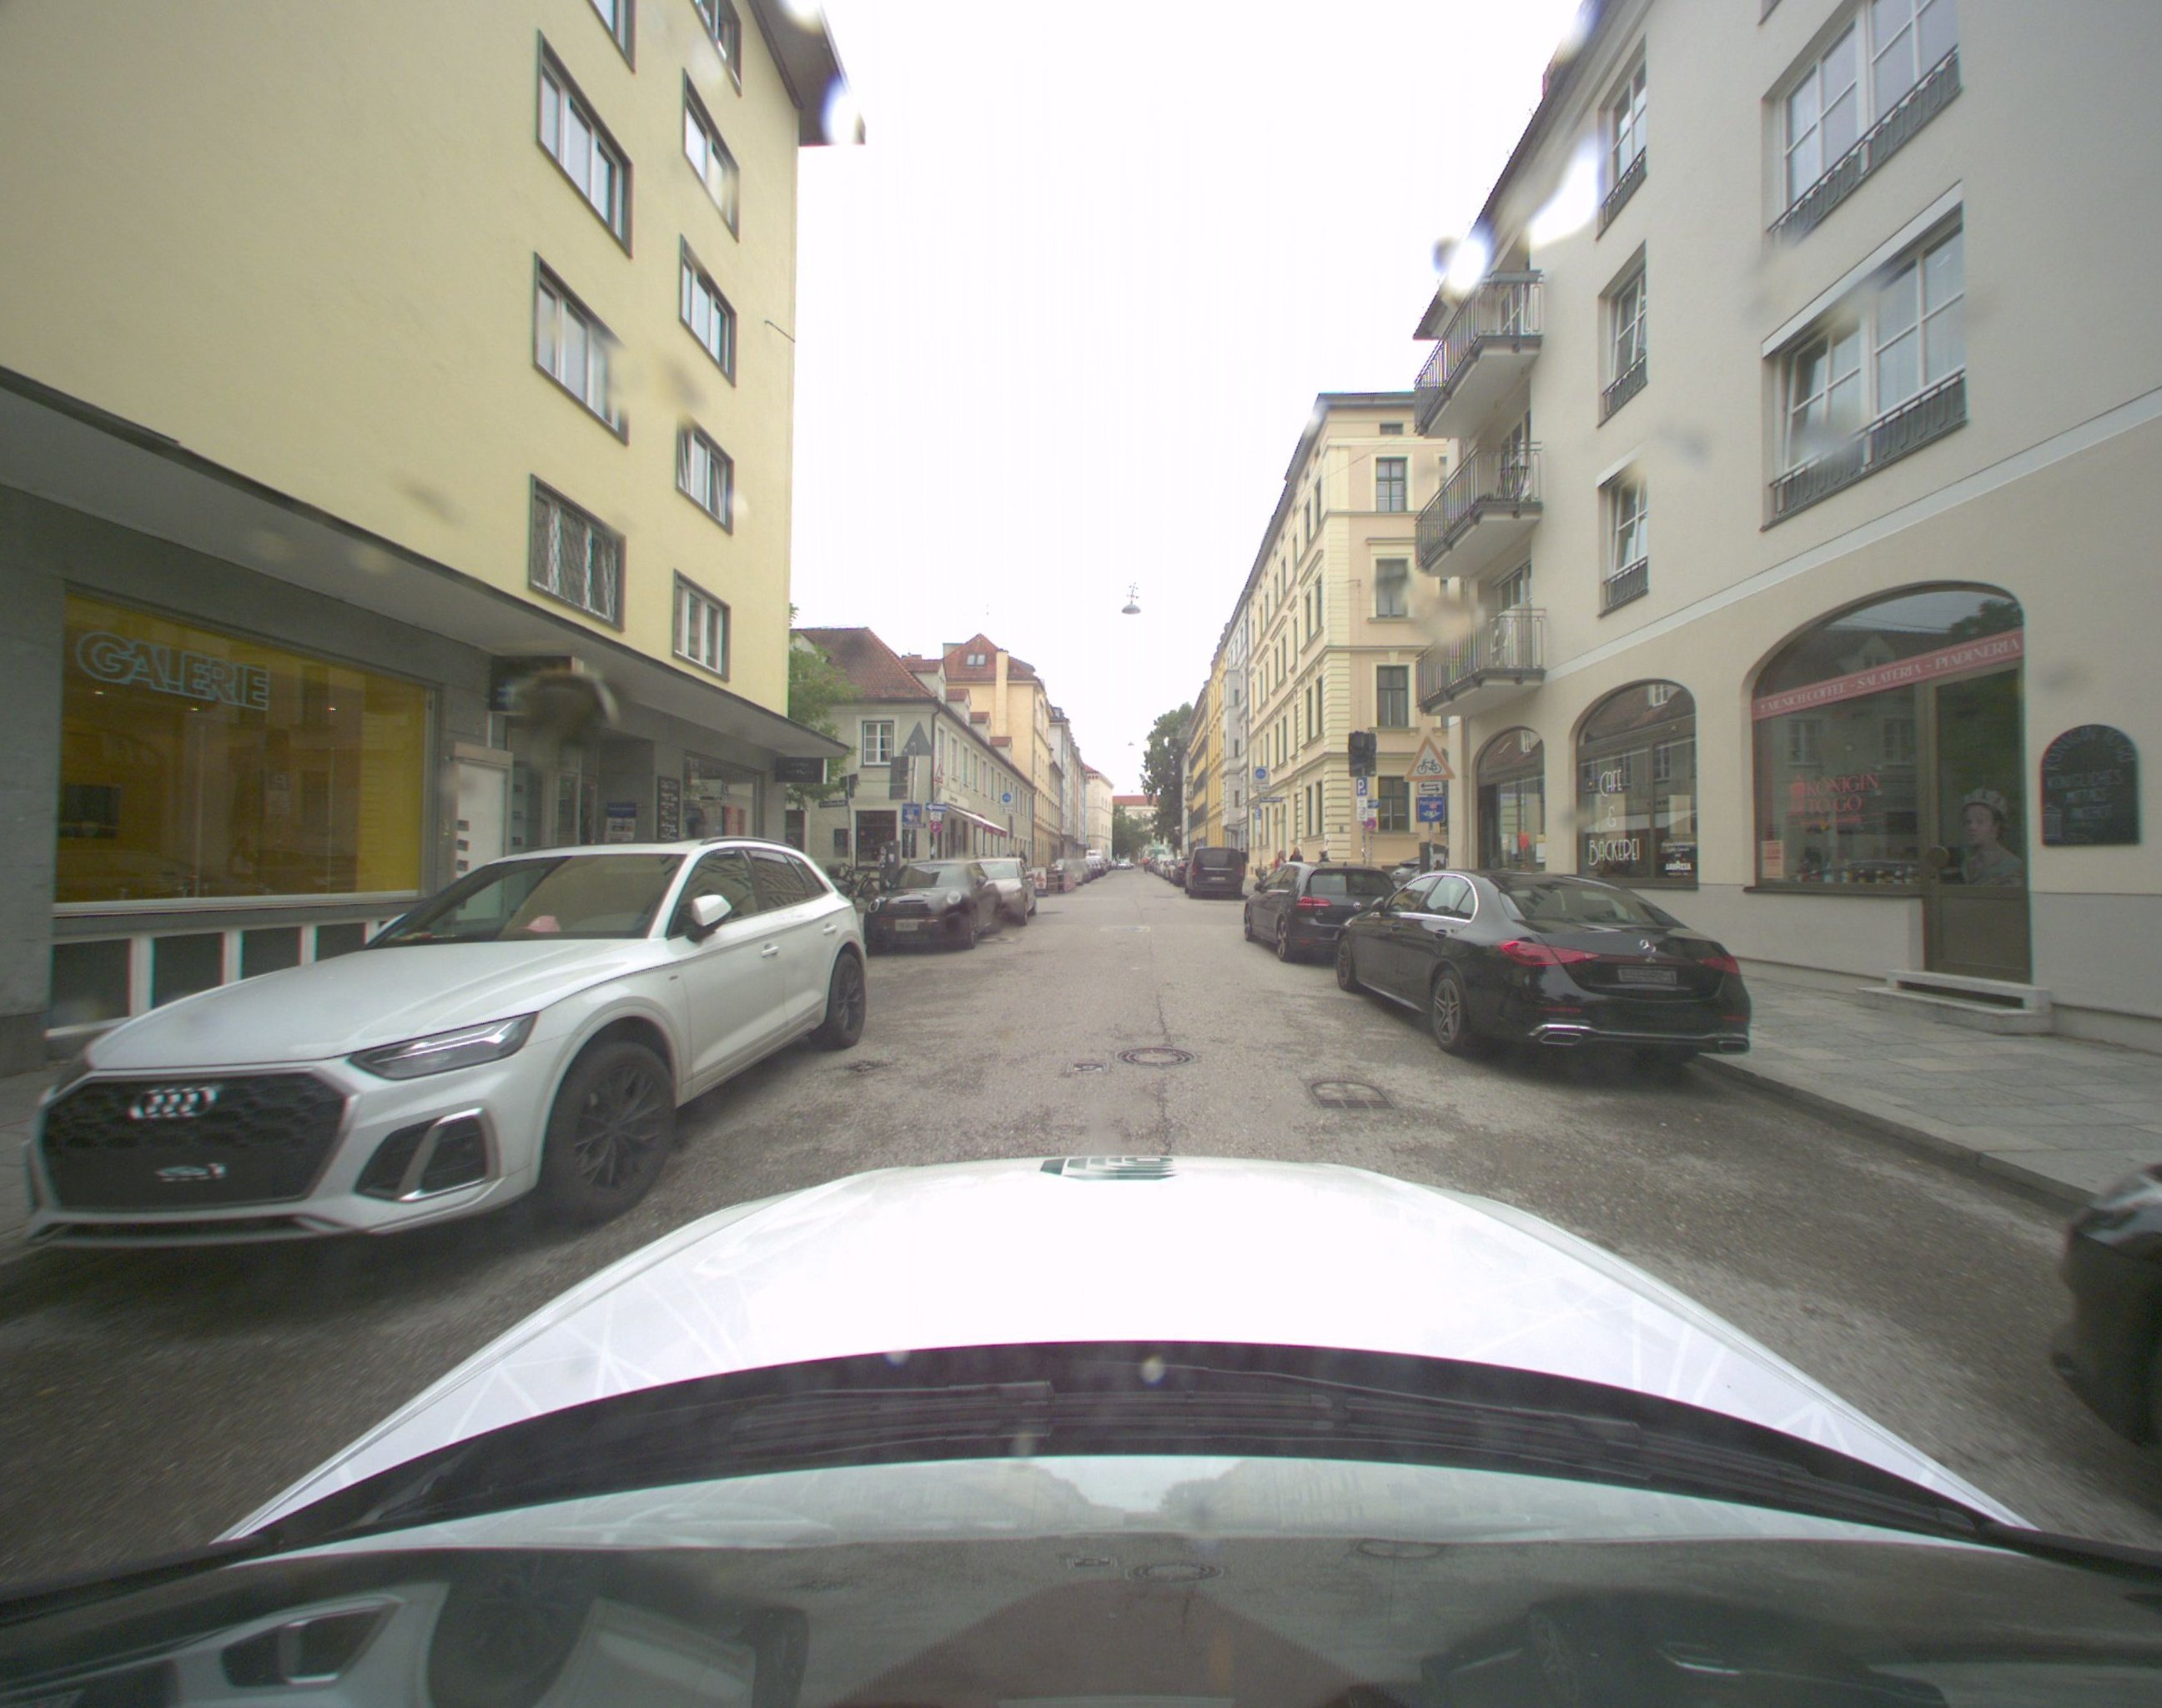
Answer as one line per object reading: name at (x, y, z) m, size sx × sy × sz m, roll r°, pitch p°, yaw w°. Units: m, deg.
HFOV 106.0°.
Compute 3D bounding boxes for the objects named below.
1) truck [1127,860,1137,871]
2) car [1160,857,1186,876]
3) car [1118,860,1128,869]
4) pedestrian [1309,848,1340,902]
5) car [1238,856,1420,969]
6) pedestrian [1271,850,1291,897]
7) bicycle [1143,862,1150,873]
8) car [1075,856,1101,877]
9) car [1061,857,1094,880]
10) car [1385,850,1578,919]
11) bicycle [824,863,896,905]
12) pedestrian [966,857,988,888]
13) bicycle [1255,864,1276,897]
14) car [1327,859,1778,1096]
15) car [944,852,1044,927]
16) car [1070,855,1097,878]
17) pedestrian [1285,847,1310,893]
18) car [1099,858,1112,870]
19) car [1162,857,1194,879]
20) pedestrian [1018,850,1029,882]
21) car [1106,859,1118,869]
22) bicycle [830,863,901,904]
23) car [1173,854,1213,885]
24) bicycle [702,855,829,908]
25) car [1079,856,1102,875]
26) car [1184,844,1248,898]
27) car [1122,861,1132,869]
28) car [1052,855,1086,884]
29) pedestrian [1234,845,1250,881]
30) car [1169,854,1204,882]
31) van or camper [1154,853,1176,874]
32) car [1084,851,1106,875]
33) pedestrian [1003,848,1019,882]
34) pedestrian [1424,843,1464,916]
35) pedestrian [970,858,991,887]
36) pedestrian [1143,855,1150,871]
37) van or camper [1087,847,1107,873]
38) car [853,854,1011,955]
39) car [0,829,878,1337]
truck at (10.897, 2.539, 173.421) m, size 2.112 × 2.247 × 6.190 m, roll 0°, pitch -2°, yaw 4°
car at (7.479, 1.010, 66.483) m, size 1.702 × 1.454 × 4.097 m, roll 0°, pitch -1°, yaw 1°
car at (7.809, 2.011, 152.249) m, size 1.698 × 1.581 × 3.869 m, roll -1°, pitch -1°, yaw 6°
pedestrian at (7.830, 0.676, 26.214) m, size 0.716 × 1.717 × 1.004 m, roll 0°, pitch -2°, yaw 2°
car at (3.730, 0.788, 13.005) m, size 1.669 × 1.425 × 4.205 m, roll 2°, pitch 0°, yaw 1°
pedestrian at (7.082, 0.697, 28.836) m, size 0.470 × 1.625 × 1.070 m, roll 0°, pitch -2°, yaw 3°
bicycle at (6.748, 1.365, 84.100) m, size 0.672 × 1.095 × 1.762 m, roll 0°, pitch -2°, yaw 4°
car at (0.518, 0.918, 60.778) m, size 1.810 × 1.441 × 4.130 m, roll -1°, pitch 0°, yaw 0°
car at (-0.187, 0.853, 49.784) m, size 1.791 × 1.339 × 4.688 m, roll 0°, pitch 0°, yaw 2°
car at (10.069, 0.742, 20.690) m, size 4.073 × 1.605 × 1.756 m, roll 0°, pitch 1°, yaw 1°
bicycle at (-5.914, 0.789, 21.814) m, size 1.809 × 1.035 × 0.392 m, roll 2°, pitch 0°, yaw 6°
pedestrian at (-4.478, 0.805, 35.172) m, size 0.800 × 1.290 × 0.694 m, roll 0°, pitch -2°, yaw 3°
bicycle at (6.606, 0.924, 29.249) m, size 0.463 × 1.052 × 1.731 m, roll -2°, pitch 2°, yaw 4°
car at (3.717, 0.806, 7.502) m, size 1.639 × 1.425 × 4.512 m, roll 2°, pitch 0°, yaw 2°
car at (-1.861, 0.730, 18.813) m, size 1.673 × 1.471 × 4.950 m, roll -1°, pitch 0°, yaw 1°
car at (0.193, 0.857, 55.612) m, size 1.748 × 1.496 × 4.201 m, roll 0°, pitch -1°, yaw 1°
pedestrian at (7.649, 0.570, 28.839) m, size 0.656 × 1.621 × 0.980 m, roll 0°, pitch -2°, yaw 2°
car at (3.318, 1.363, 109.996) m, size 1.699 × 1.609 × 3.865 m, roll -1°, pitch -1°, yaw 3°
car at (6.383, 0.940, 53.954) m, size 1.702 × 1.404 × 4.208 m, roll 0°, pitch -1°, yaw 1°
pedestrian at (-3.230, 0.683, 45.895) m, size 0.526 × 1.782 × 0.878 m, roll 0°, pitch -2°, yaw 4°
car at (5.292, 1.757, 137.709) m, size 1.698 × 1.609 × 3.869 m, roll -1°, pitch -1°, yaw 6°
bicycle at (-5.871, 0.802, 22.216) m, size 1.809 × 1.035 × 0.392 m, roll 2°, pitch 0°, yaw 6°
car at (5.749, 0.785, 42.303) m, size 1.747 × 1.521 × 4.278 m, roll 0°, pitch -1°, yaw 4°
bicycle at (-7.812, 0.680, 20.209) m, size 2.828 × 1.212 × 0.819 m, roll 1°, pitch -2°, yaw 5°
car at (0.767, 0.928, 65.812) m, size 1.748 × 1.409 × 4.105 m, roll 0°, pitch -1°, yaw 2°
car at (5.029, 0.599, 31.033) m, size 1.988 × 1.864 × 5.260 m, roll 1°, pitch 0°, yaw 5°
car at (9.033, 2.191, 158.333) m, size 1.698 × 1.581 × 3.869 m, roll -1°, pitch -1°, yaw 6°
car at (-0.623, 0.841, 44.469) m, size 1.749 × 1.475 × 3.714 m, roll 1°, pitch -1°, yaw 0°
pedestrian at (8.875, 0.502, 44.792) m, size 0.666 × 1.981 × 0.709 m, roll -3°, pitch -2°, yaw 4°
car at (6.162, 0.817, 47.847) m, size 1.735 × 1.583 × 4.471 m, roll 0°, pitch -1°, yaw 4°
van or camper at (7.838, 0.858, 76.098) m, size 1.825 × 1.872 × 5.084 m, roll 0°, pitch -1°, yaw 4°
car at (1.199, 0.767, 70.766) m, size 1.749 × 1.995 × 4.623 m, roll 0°, pitch -1°, yaw -1°
pedestrian at (-3.952, 0.636, 45.915) m, size 0.819 × 1.898 × 0.828 m, roll 0°, pitch -2°, yaw 2°
pedestrian at (8.296, 0.575, 18.611) m, size 0.633 × 1.647 × 0.526 m, roll 0°, pitch -2°, yaw -5°
pedestrian at (-4.442, 0.816, 35.895) m, size 0.800 × 1.290 × 0.694 m, roll 0°, pitch -2°, yaw 3°
pedestrian at (6.750, 0.944, 84.121) m, size 0.639 × 1.714 × 0.843 m, roll 0°, pitch -2°, yaw 4°
van or camper at (1.540, 0.573, 76.169) m, size 1.747 × 2.281 × 5.276 m, roll 0°, pitch -1°, yaw 3°
car at (-2.398, 0.764, 14.132) m, size 1.671 × 1.471 × 4.102 m, roll -1°, pitch 0°, yaw 4°
car at (-2.767, 0.703, 4.738) m, size 1.795 × 1.584 × 4.342 m, roll -1°, pitch 1°, yaw 3°
